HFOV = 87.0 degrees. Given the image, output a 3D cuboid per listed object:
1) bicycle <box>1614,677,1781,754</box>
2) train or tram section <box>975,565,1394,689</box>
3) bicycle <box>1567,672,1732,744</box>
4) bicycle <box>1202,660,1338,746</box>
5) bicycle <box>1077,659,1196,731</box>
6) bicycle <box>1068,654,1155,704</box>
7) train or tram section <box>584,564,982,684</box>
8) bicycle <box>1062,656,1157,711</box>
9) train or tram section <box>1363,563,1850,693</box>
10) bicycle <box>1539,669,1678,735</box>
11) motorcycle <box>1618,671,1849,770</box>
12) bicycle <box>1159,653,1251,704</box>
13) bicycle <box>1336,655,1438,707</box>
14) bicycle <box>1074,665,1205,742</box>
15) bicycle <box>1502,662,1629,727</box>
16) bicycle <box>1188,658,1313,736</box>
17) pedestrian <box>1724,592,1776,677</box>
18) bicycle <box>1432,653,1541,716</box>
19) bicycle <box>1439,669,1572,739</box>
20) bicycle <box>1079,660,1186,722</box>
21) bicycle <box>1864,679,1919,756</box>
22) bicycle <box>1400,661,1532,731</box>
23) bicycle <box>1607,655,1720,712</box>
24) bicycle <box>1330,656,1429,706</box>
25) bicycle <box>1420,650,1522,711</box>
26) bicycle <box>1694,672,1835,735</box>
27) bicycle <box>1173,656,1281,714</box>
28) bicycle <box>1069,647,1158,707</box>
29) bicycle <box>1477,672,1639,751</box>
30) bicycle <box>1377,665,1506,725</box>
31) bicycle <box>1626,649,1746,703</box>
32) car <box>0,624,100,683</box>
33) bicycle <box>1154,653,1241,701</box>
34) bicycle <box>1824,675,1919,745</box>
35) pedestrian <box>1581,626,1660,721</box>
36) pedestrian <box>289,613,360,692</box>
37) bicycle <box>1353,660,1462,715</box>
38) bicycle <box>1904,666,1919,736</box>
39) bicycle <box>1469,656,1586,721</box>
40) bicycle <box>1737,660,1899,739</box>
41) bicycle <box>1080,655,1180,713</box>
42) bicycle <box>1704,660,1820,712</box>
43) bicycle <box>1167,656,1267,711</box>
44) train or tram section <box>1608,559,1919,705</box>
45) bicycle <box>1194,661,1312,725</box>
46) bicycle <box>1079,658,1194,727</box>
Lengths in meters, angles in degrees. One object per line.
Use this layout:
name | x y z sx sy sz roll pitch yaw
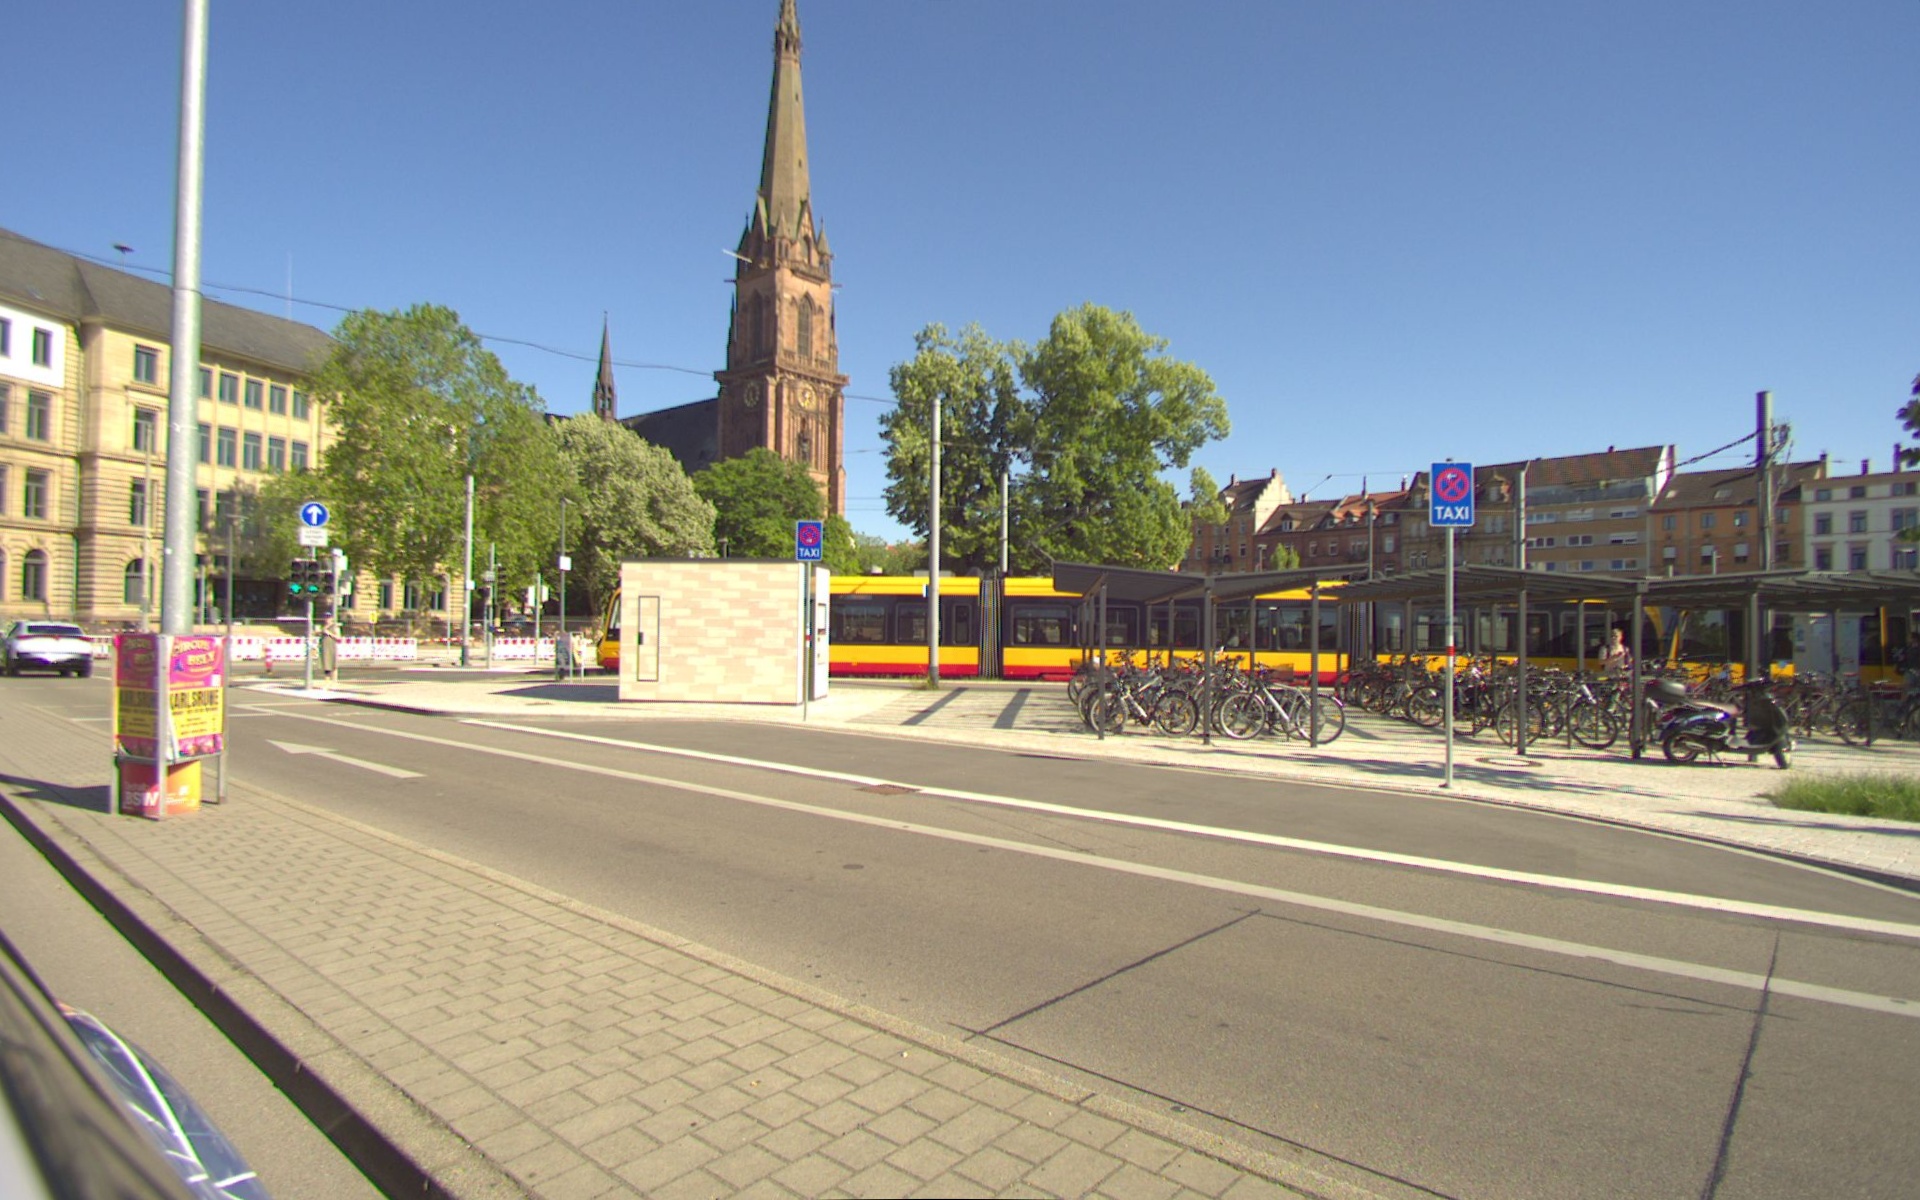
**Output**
bicycle | 10.406 1.618 14.320 1.808 1.015 0.627 0 -2 7
train or tram section | 6.646 0.808 31.423 12.174 3.629 2.796 0 -2 6
bicycle | 10.556 1.645 15.546 2.003 1.015 0.627 0 -2 7
bicycle | 4.503 1.486 14.792 1.808 1.167 0.627 1 -2 7
bicycle | 2.752 1.474 15.892 1.809 1.074 0.627 0 -2 9
bicycle | 3.245 1.690 21.770 1.809 1.015 0.627 0 -2 9
train or tram section | -5.565 0.746 32.693 12.382 3.629 2.796 0 -2 6
bicycle | 2.918 1.629 19.826 1.809 1.015 0.627 0 -2 9
train or tram section | 18.769 0.802 30.163 12.174 3.629 2.828 0 -2 6
bicycle | 10.635 1.664 16.640 1.808 1.015 0.627 0 -2 7
motorcycle | 9.809 1.518 12.902 2.333 1.167 0.610 0 -2 7
bicycle | 5.136 1.636 21.269 1.808 1.015 0.627 0 -2 7
bicycle | 8.748 1.645 20.777 1.807 1.015 0.628 0 -2 5
bicycle | 2.642 1.518 15.015 1.847 1.015 0.699 1 -2 9
bicycle | 10.706 1.663 17.932 1.808 1.088 0.627 0 -2 7
bicycle | 4.545 1.508 15.934 1.808 1.157 0.627 0 -2 7
pedestrian | 17.733 0.765 22.708 0.700 1.869 0.751 2 -2 -38
bicycle | 10.556 1.685 20.348 1.808 1.198 0.647 0 -2 7
bicycle | 8.489 1.606 15.798 1.731 1.015 0.547 0 -2 10
bicycle | 2.993 1.572 17.640 1.809 1.015 0.627 0 -2 9
bicycle | 13.798 1.627 14.025 1.809 1.015 0.627 0 -2 9
bicycle | 8.510 1.603 17.076 1.859 1.101 0.626 0 -2 8
bicycle | 14.627 1.722 21.080 1.809 1.140 0.627 0 -2 9
bicycle | 8.877 1.709 21.465 1.808 1.015 0.627 0 -2 6
bicycle | 10.862 1.703 21.546 1.808 1.242 0.627 0 -2 7
bicycle | 13.895 1.780 17.517 1.809 1.015 0.627 0 -2 9
bicycle | 4.860 1.541 18.508 1.808 1.015 0.627 0 -2 7
bicycle | 3.188 1.586 21.071 1.809 1.188 0.627 0 -2 9
bicycle | 8.615 1.595 14.645 1.871 1.050 0.688 0 -2 9
bicycle | 8.581 1.683 18.097 1.978 1.015 0.628 0 -2 3
bicycle | 14.315 1.485 19.984 1.809 1.015 0.627 0 -2 9
car | -26.444 1.515 29.182 4.334 1.564 1.822 -1 -4 41
bicycle | 5.256 1.693 22.469 1.808 1.015 0.627 0 -2 7
bicycle | 14.240 1.646 15.202 1.872 1.004 0.499 0 -2 13
pedestrian | 12.359 1.359 18.968 0.829 1.718 1.022 0 -2 7
pedestrian | -15.513 1.260 24.725 0.826 1.869 1.215 -1 -2 35
bicycle | 8.599 1.680 19.472 1.805 1.015 0.629 0 -2 0
bicycle | 16.226 1.616 16.040 1.808 1.101 0.627 0 -2 7
bicycle | 10.741 1.663 19.198 1.808 1.170 0.627 0 -2 7
bicycle | 13.932 1.609 16.477 2.029 1.218 0.505 0 -2 8
bicycle | 3.143 1.552 18.795 1.809 1.015 0.627 0 -2 9
bicycle | 16.679 1.783 21.087 1.808 1.015 0.627 0 -2 7
bicycle | 5.006 1.620 19.782 1.808 1.015 0.627 0 -2 7
train or tram section | 24.181 0.830 26.380 12.178 3.629 2.748 0 -2 7
bicycle | 4.954 1.566 17.200 1.808 1.015 0.745 0 -2 7
bicycle | 2.847 1.480 16.421 1.809 1.059 0.571 0 -2 9
